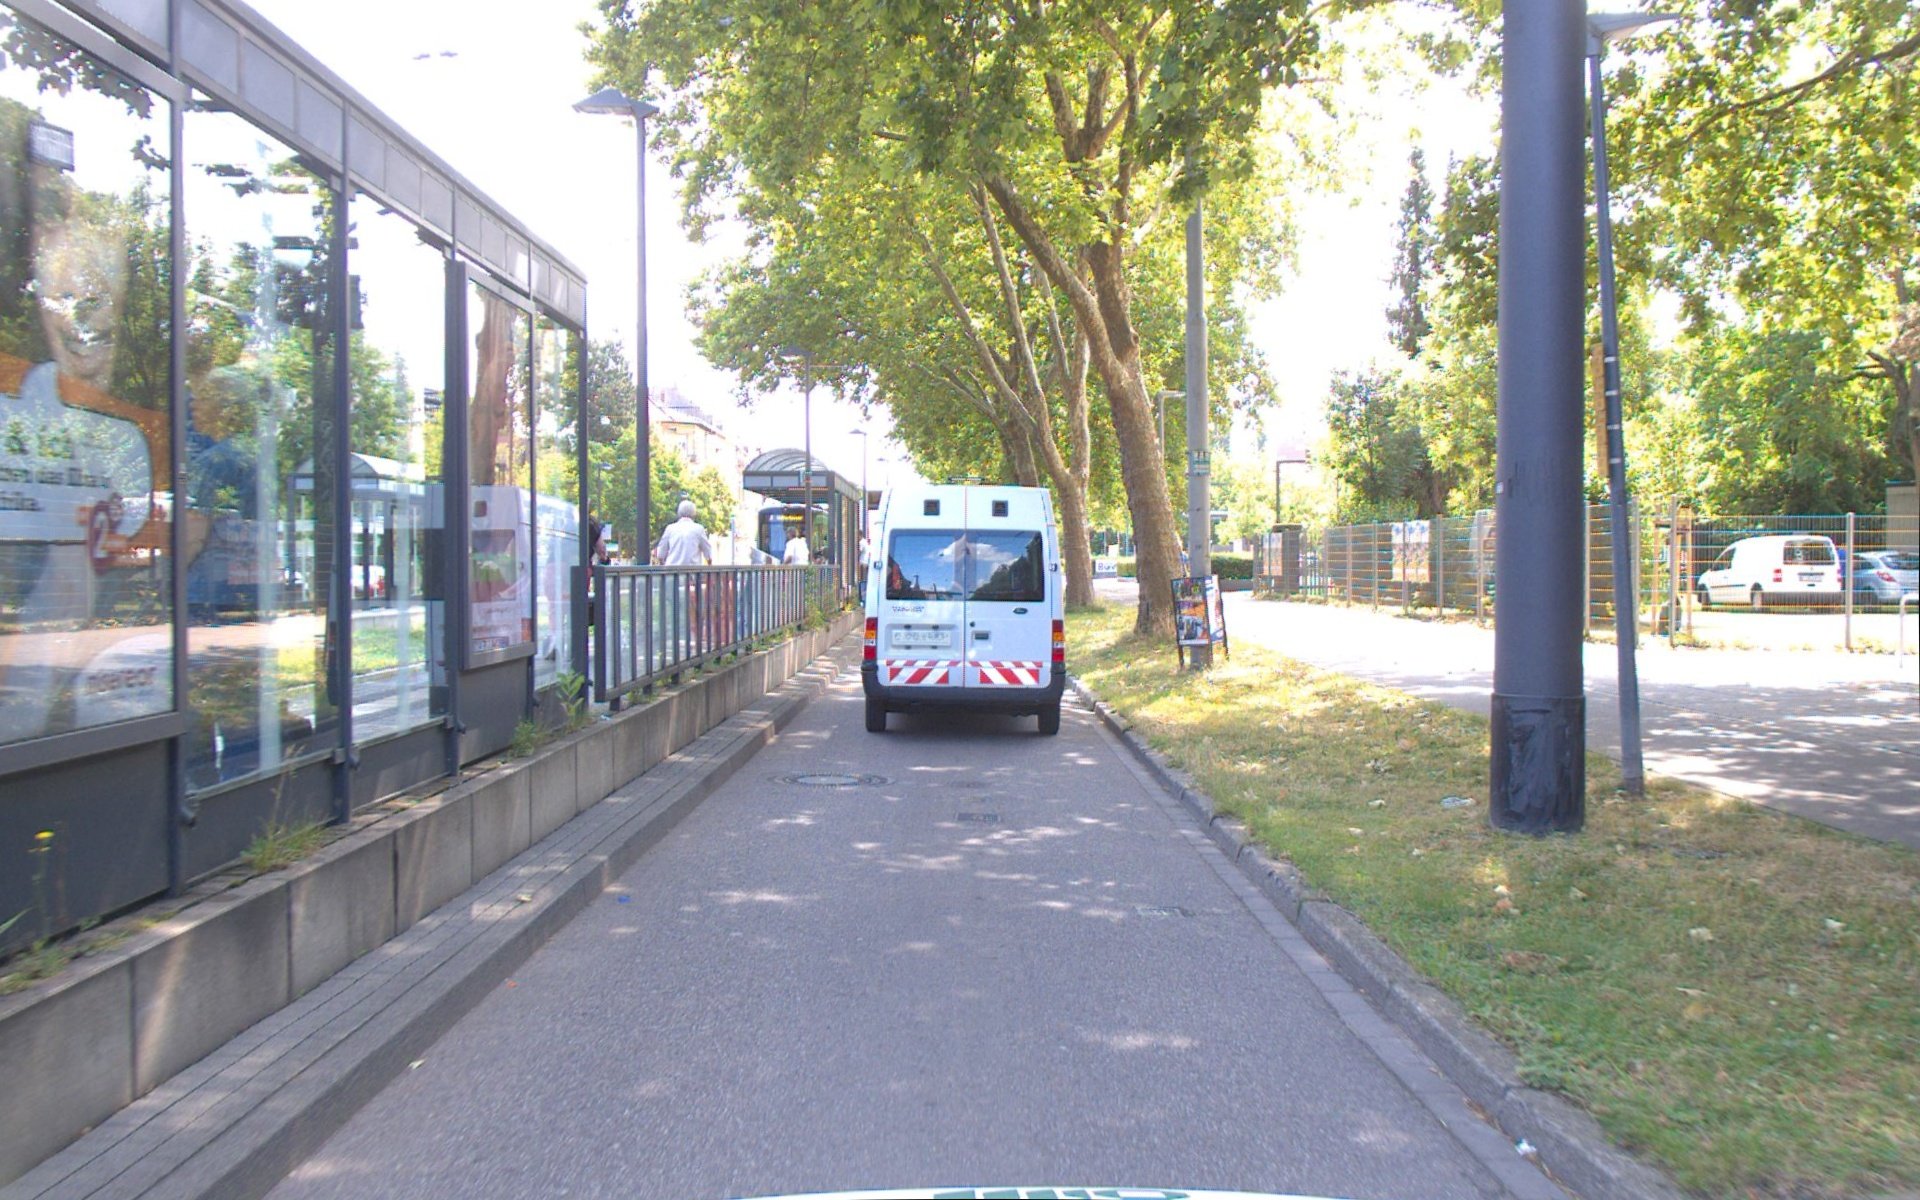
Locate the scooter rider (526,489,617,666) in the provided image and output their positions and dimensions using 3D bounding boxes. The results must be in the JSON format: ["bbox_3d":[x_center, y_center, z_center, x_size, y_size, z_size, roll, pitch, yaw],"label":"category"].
[{"bbox_3d":[-3.715,-0.225,15.874,0.641,1.642,0.901,-1,1,-1],"label":"scooter rider"}]

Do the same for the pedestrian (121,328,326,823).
[{"bbox_3d":[-2.593,-0.090,5.864,0.461,1.670,0.537,-1,1,-1],"label":"pedestrian"}]

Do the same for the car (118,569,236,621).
[{"bbox_3d":[-22.861,-0.175,48.418,1.684,1.395,3.705,-1,1,0],"label":"car"}]

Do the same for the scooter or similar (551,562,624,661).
[{"bbox_3d":[-3.726,0.112,16.560,0.619,0.972,0.421,-1,1,-1],"label":"scooter or similar"}]

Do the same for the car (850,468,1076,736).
[{"bbox_3d":[-0.015,-0.060,17.126,2.005,2.373,4.714,-1,2,-1],"label":"car"}]

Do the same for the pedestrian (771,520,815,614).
[{"bbox_3d":[-2.784,-0.550,27.618,0.662,1.541,0.596,-1,1,-1],"label":"pedestrian"}]

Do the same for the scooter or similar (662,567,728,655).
[{"bbox_3d":[-2.834,0.115,17.718,0.641,0.923,0.389,-1,1,-1],"label":"scooter or similar"}]

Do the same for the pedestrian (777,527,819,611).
[{"bbox_3d":[-2.796,-0.534,28.640,0.662,1.427,0.596,-1,1,-1],"label":"pedestrian"}]

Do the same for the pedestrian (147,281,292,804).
[{"bbox_3d":[-2.888,-0.220,6.463,0.464,1.933,0.533,-1,1,-25],"label":"pedestrian"}]

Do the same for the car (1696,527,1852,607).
[{"bbox_3d":[19.869,-0.813,40.581,1.769,1.846,4.340,0,1,1],"label":"car"}]

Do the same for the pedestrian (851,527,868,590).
[{"bbox_3d":[-2.586,-1.069,42.598,0.377,1.619,0.439,-1,1,-1],"label":"pedestrian"}]

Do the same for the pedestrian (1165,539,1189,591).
[{"bbox_3d":[6.910,-1.120,52.717,0.679,1.653,0.637,-1,1,-1],"label":"pedestrian"}]

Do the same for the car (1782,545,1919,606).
[{"bbox_3d":[22.268,-0.634,40.992,1.770,1.426,4.047,0,1,0],"label":"car"}]

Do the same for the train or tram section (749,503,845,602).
[{"bbox_3d":[-6.414,-1.896,67.146,2.668,3.646,13.017,0,1,0],"label":"train or tram section"}]

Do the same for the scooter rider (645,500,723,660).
[{"bbox_3d":[-2.828,-0.208,17.040,0.641,1.598,0.901,-1,1,-1],"label":"scooter rider"}]
